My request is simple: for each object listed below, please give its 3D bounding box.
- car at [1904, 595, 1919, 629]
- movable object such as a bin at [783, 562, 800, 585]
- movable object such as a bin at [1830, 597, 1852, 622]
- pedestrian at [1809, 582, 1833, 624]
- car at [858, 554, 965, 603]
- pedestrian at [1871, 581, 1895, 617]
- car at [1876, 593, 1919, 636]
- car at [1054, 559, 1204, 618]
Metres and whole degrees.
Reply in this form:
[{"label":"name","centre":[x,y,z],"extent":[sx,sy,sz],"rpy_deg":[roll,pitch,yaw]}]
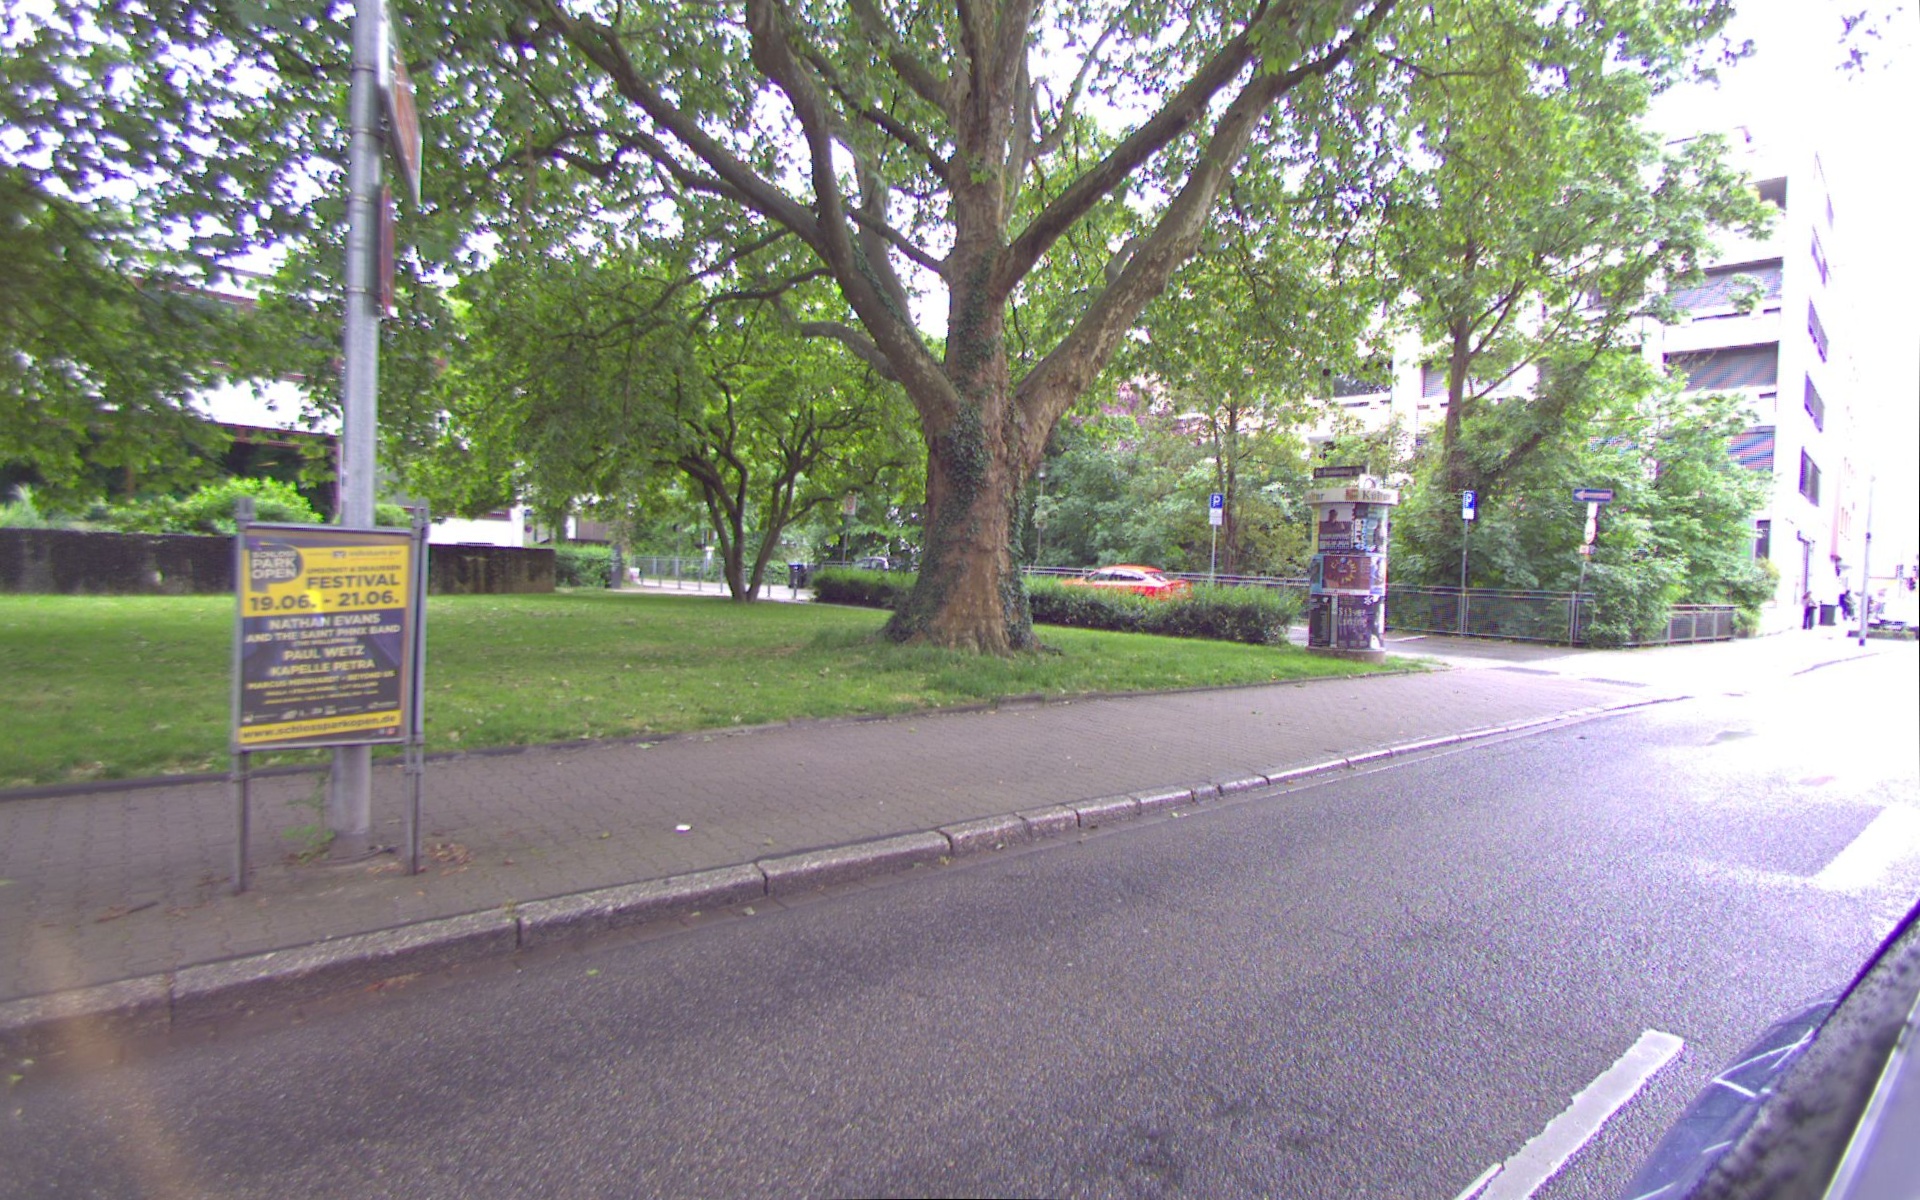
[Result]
[{"label":"car","centre":[42.667,0.545,44.119],"extent":[4.493,1.437,1.834],"rpy_deg":[0,3,-43]},{"label":"movable object such as a bin","centre":[-7.185,-1.128,43.164],"extent":[0.573,0.986,0.512],"rpy_deg":[0,0,-41]},{"label":"movable object such as a bin","centre":[42.080,0.448,48.337],"extent":[0.505,1.117,0.680],"rpy_deg":[0,2,-42]},{"label":"pedestrian","centre":[35.018,0.116,41.174],"extent":[0.598,1.679,0.681],"rpy_deg":[7,4,42]},{"label":"car","centre":[-1.826,-0.821,37.093],"extent":[1.707,1.590,3.925],"rpy_deg":[0,3,-45]},{"label":"pedestrian","centre":[56.855,-0.092,62.349],"extent":[0.797,2.179,0.732],"rpy_deg":[2,1,26]},{"label":"car","centre":[37.464,0.561,39.817],"extent":[3.741,1.577,1.705],"rpy_deg":[0,4,-43]},{"label":"car","centre":[4.905,-0.387,29.747],"extent":[3.989,1.499,1.847],"rpy_deg":[5,5,44]}]
